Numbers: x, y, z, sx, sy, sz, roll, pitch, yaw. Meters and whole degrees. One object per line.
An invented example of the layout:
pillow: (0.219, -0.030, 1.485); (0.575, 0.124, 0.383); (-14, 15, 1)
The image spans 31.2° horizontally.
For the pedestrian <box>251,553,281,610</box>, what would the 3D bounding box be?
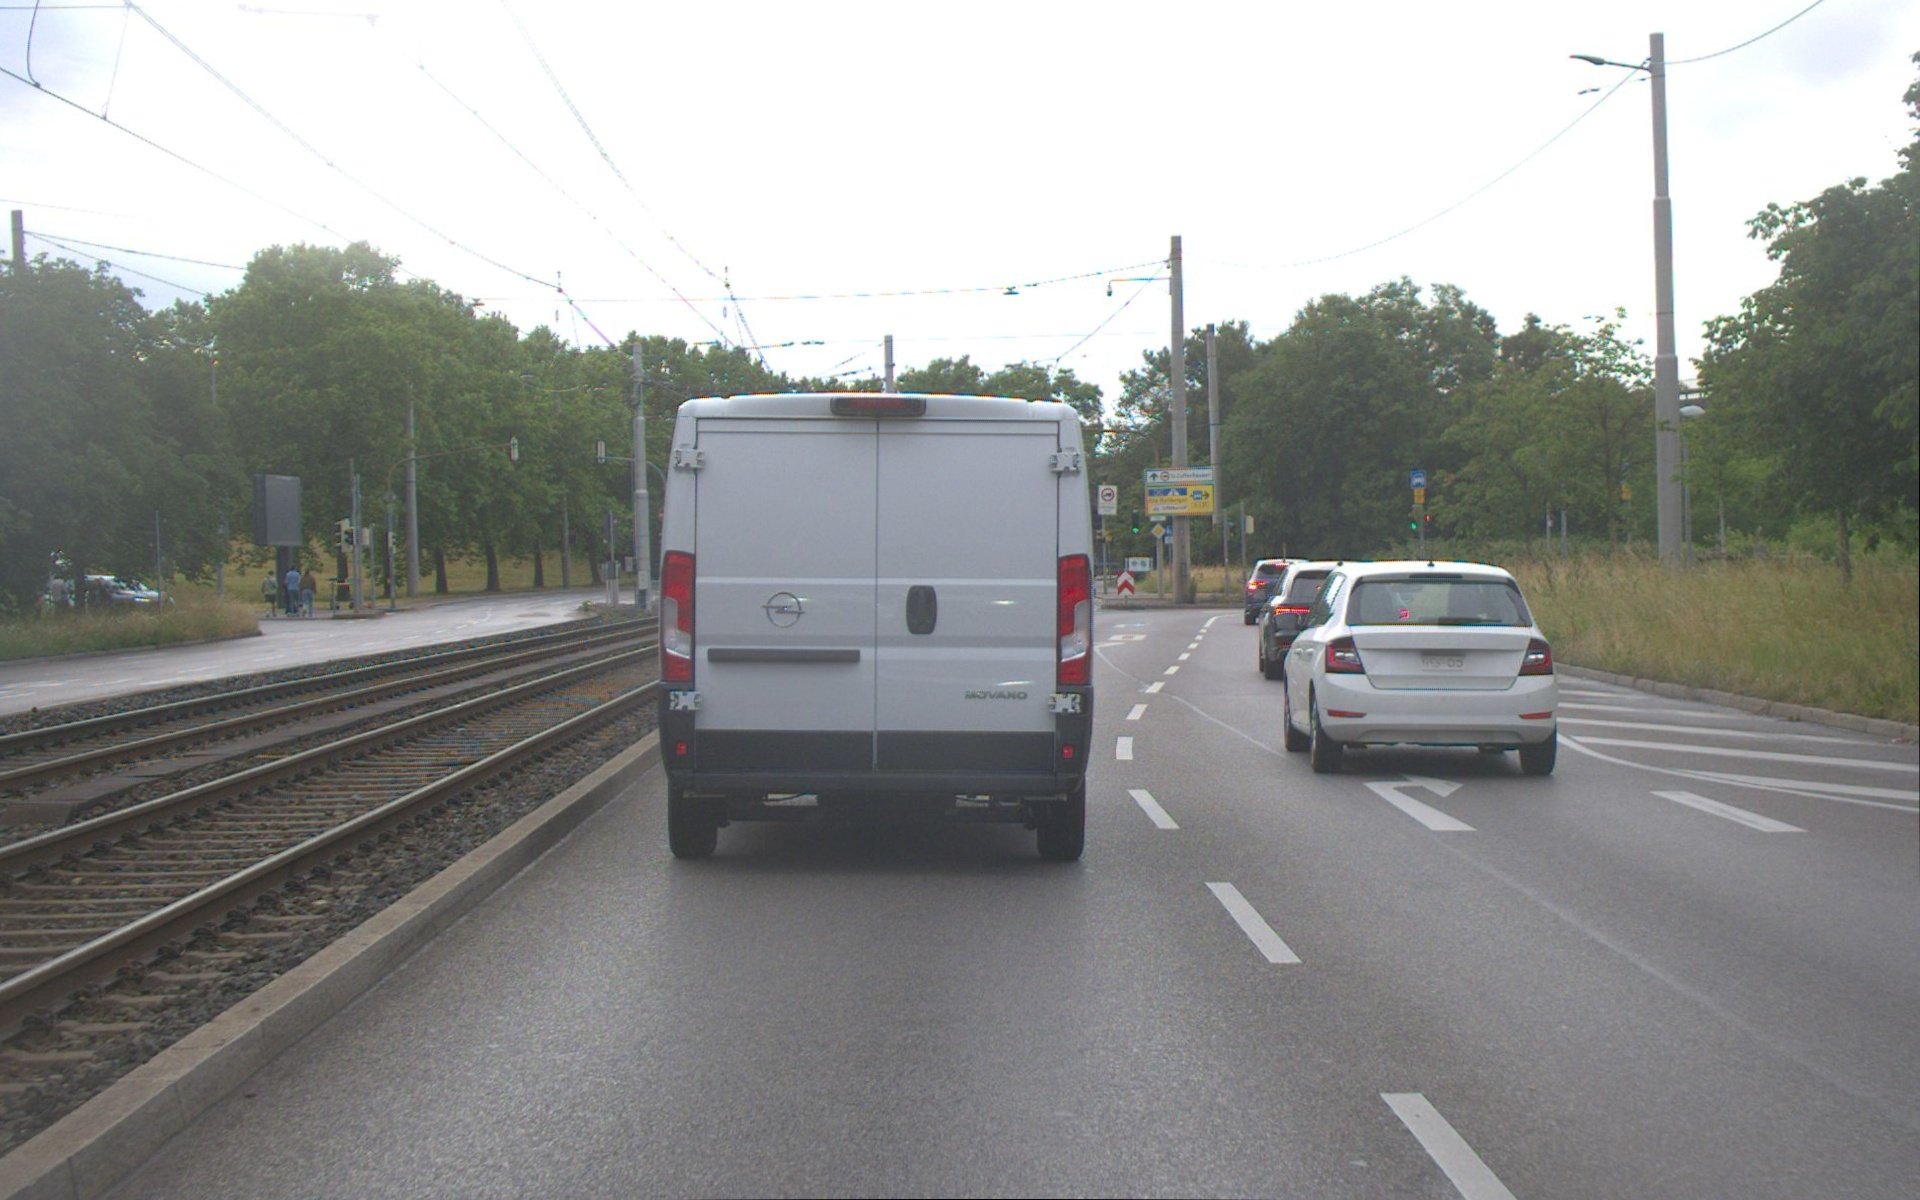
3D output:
pedestrian: (-24.697, -0.665, 122.384); (0.887, 2.007, 0.866); (-1, 0, -5)

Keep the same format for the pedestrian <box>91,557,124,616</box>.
pedestrian: (-25.778, -0.414, 103.915); (0.725, 1.749, 0.877); (1, 0, 3)

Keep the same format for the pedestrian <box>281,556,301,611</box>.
pedestrian: (-23.591, -0.582, 121.272); (0.496, 1.949, 0.722); (1, 0, 4)

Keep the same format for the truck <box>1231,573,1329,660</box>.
truck: (7.162, 0.340, 77.237); (1.994, 1.784, 4.414); (-2, 1, 3)

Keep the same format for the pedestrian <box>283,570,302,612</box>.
pedestrian: (-23.813, -0.316, 122.622); (0.496, 1.468, 0.722); (1, 0, 2)

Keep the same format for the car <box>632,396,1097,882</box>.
car: (-0.509, 0.130, 18.162); (2.090, 2.189, 5.061); (1, 1, -2)

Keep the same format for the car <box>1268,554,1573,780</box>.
car: (3.218, 0.420, 24.619); (1.746, 1.452, 3.671); (1, 1, 1)

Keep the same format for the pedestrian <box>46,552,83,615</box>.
pedestrian: (-27.041, -0.499, 103.785); (0.634, 1.861, 0.953); (-1, 1, 16)

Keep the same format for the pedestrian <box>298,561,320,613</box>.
pedestrian: (-22.908, -0.460, 120.986); (0.506, 1.781, 0.832); (1, 0, 5)

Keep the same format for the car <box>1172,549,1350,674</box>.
car: (3.617, 0.113, 41.908); (1.789, 1.444, 4.000); (0, 0, 0)
